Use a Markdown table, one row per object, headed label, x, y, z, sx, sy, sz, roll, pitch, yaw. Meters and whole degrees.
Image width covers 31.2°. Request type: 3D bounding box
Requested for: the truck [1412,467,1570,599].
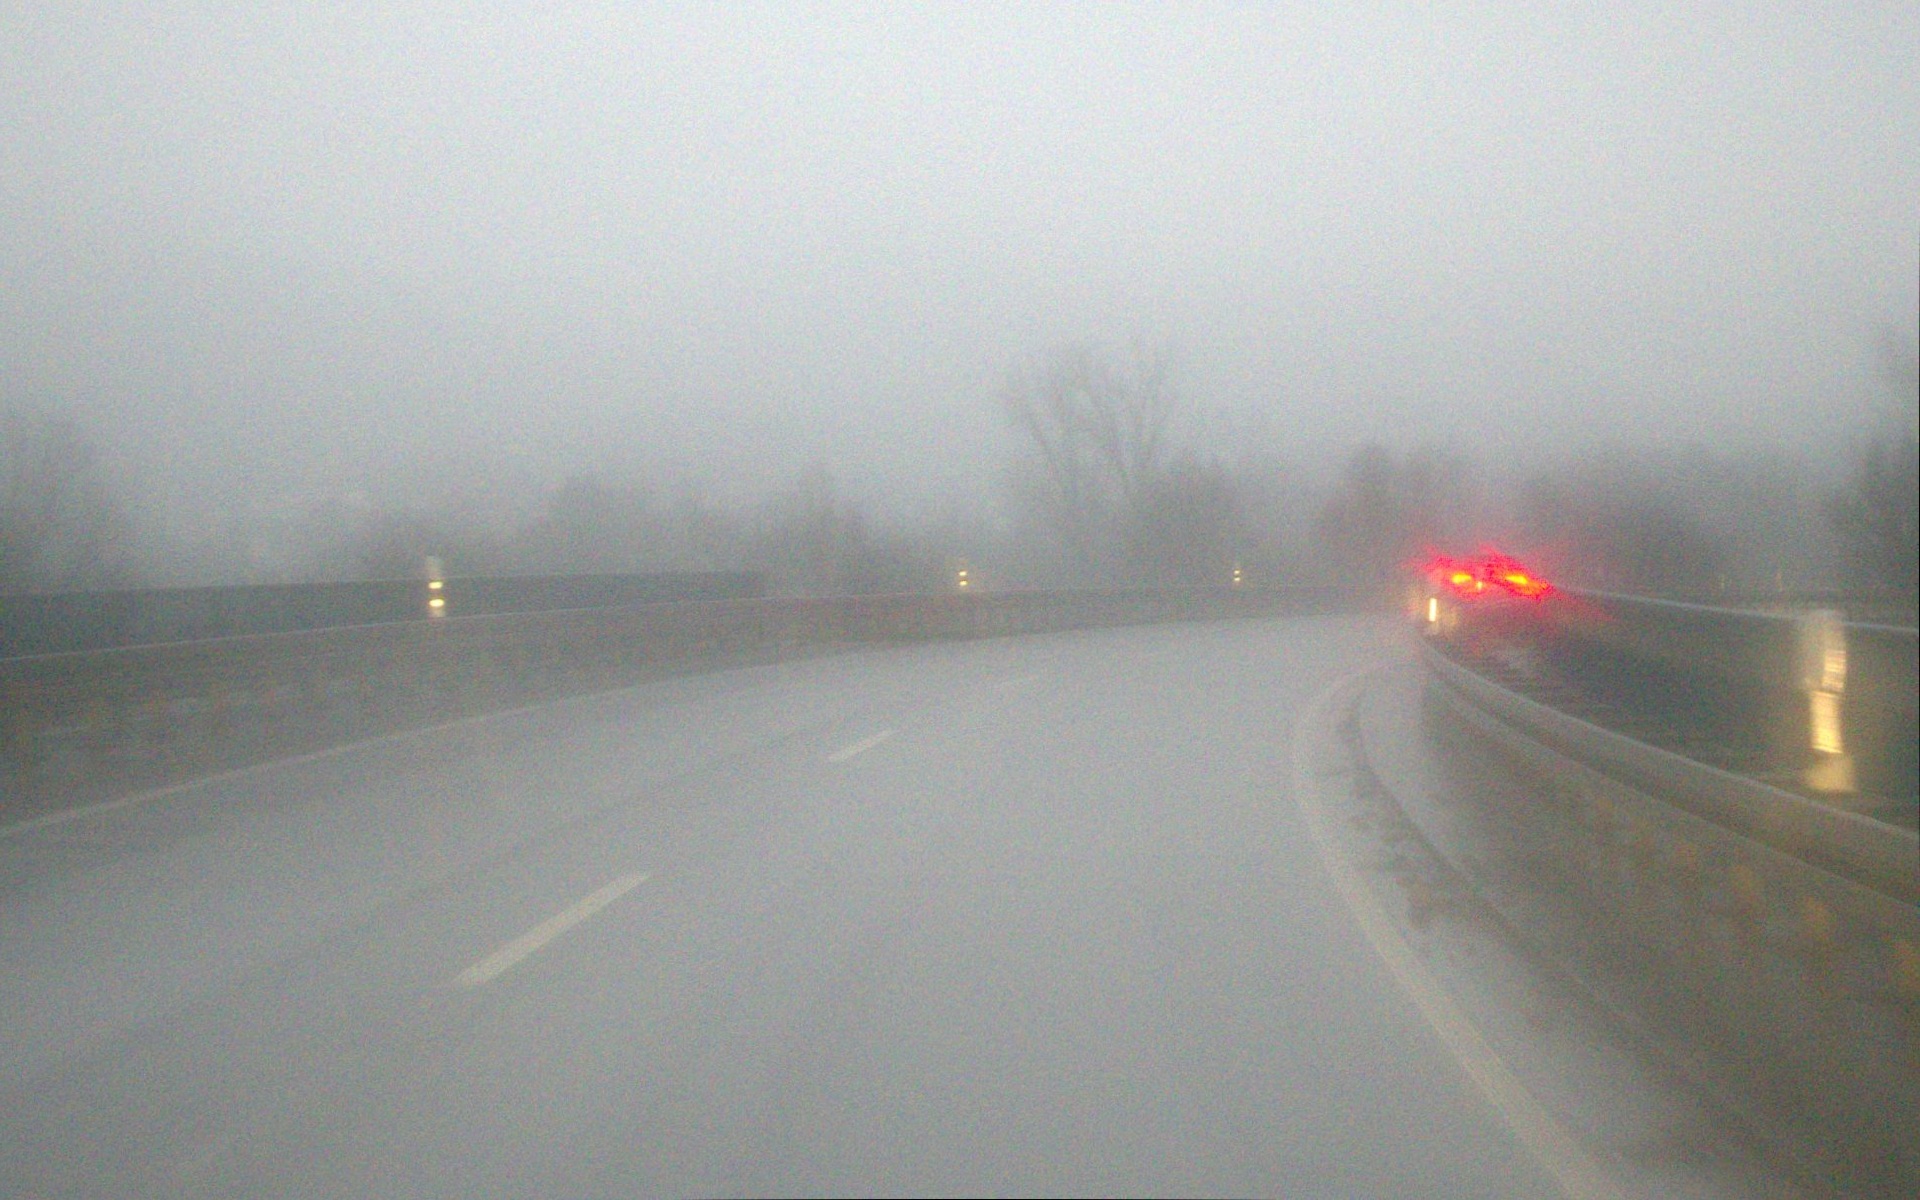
| label | x | y | z | sx | sy | sz | roll | pitch | yaw |
| --- | --- | --- | --- | --- | --- | --- | --- | --- | --- |
| truck | 12.118 | -1.522 | 78.142 | 2.534 | 2.859 | 5.917 | 1 | 1 | 19 |
